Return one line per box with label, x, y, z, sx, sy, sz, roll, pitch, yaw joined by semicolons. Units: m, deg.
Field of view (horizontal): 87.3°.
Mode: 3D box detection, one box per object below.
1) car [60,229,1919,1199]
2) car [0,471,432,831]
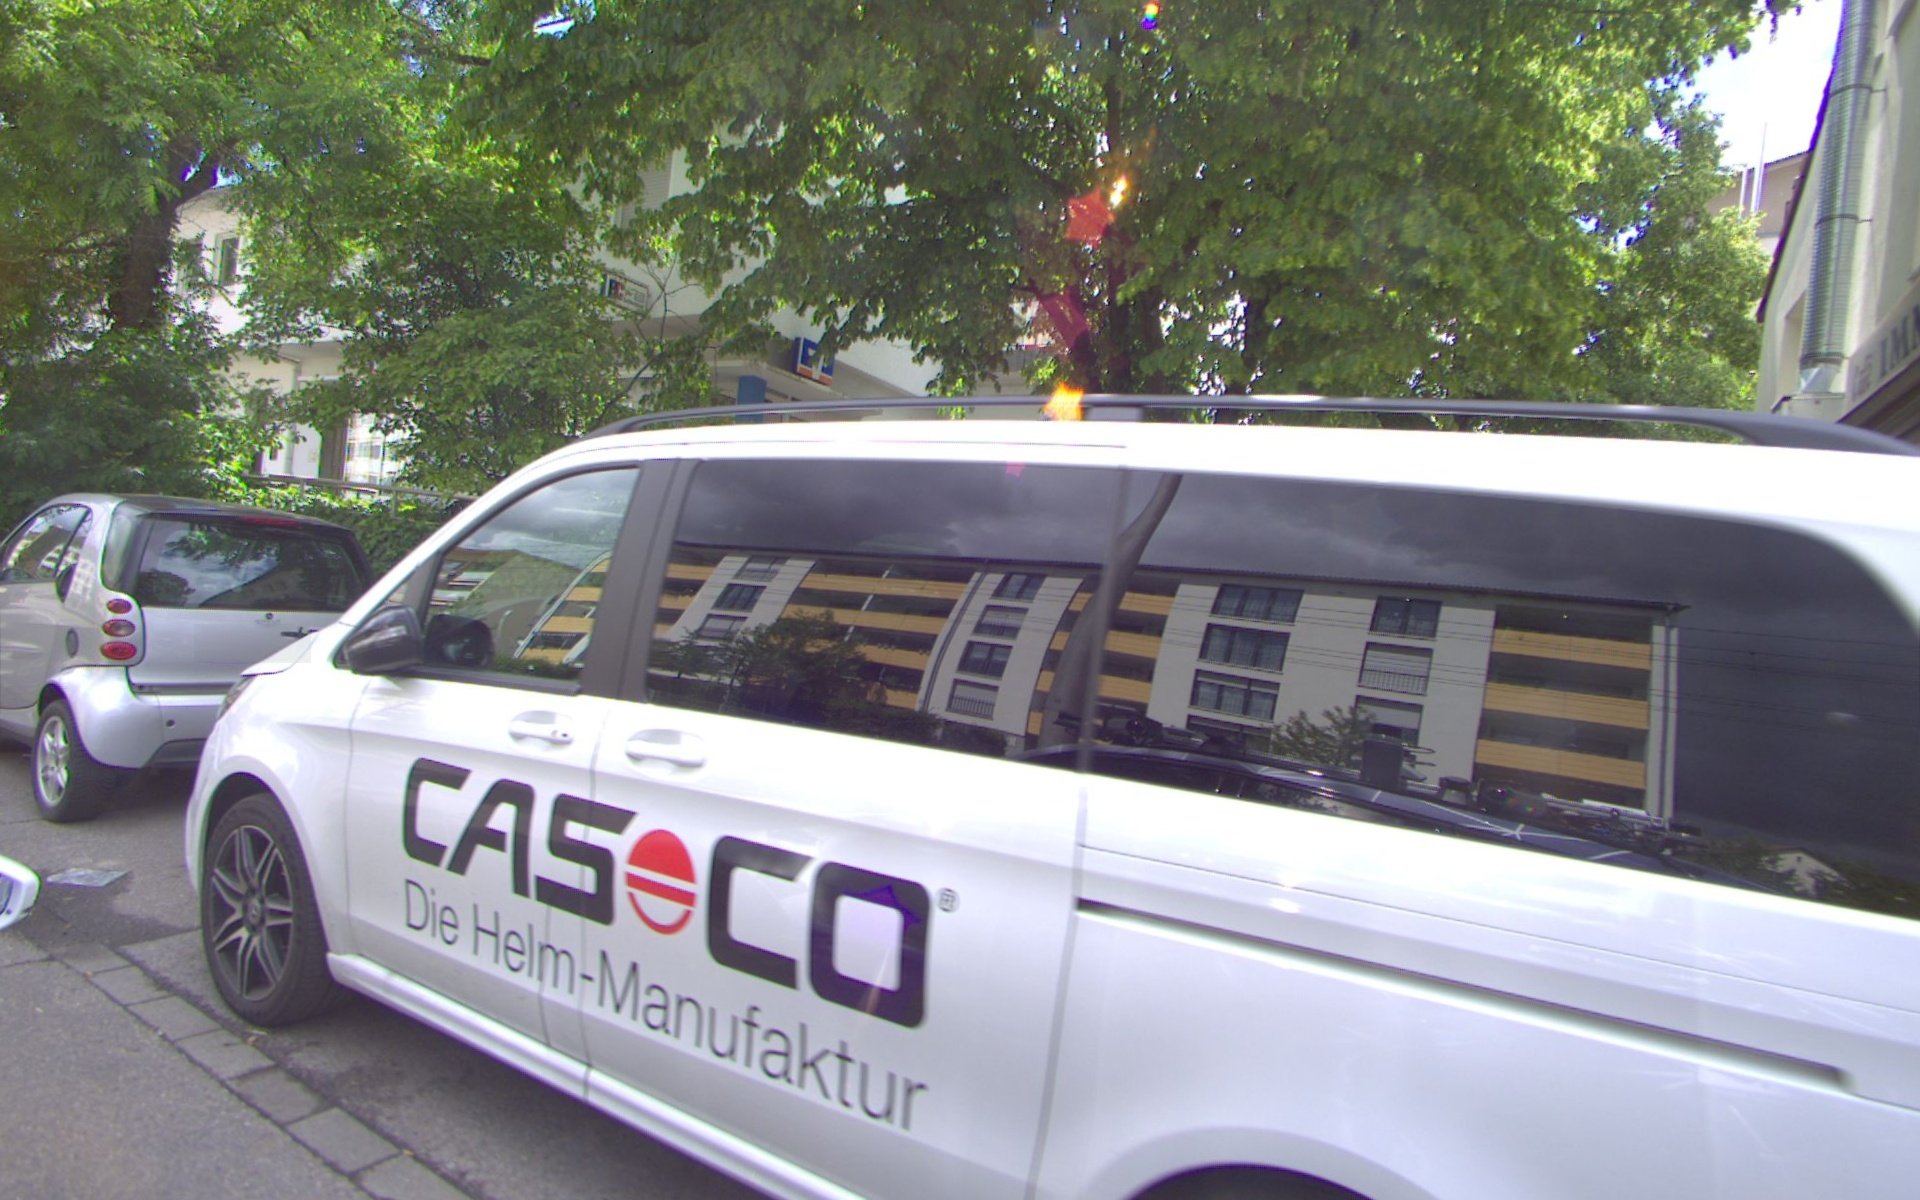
car;-0.162;0.442;2.900;5.648;1.983;1.916;7;1;30
car;-4.647;0.144;5.803;2.799;1.554;1.514;7;2;31
